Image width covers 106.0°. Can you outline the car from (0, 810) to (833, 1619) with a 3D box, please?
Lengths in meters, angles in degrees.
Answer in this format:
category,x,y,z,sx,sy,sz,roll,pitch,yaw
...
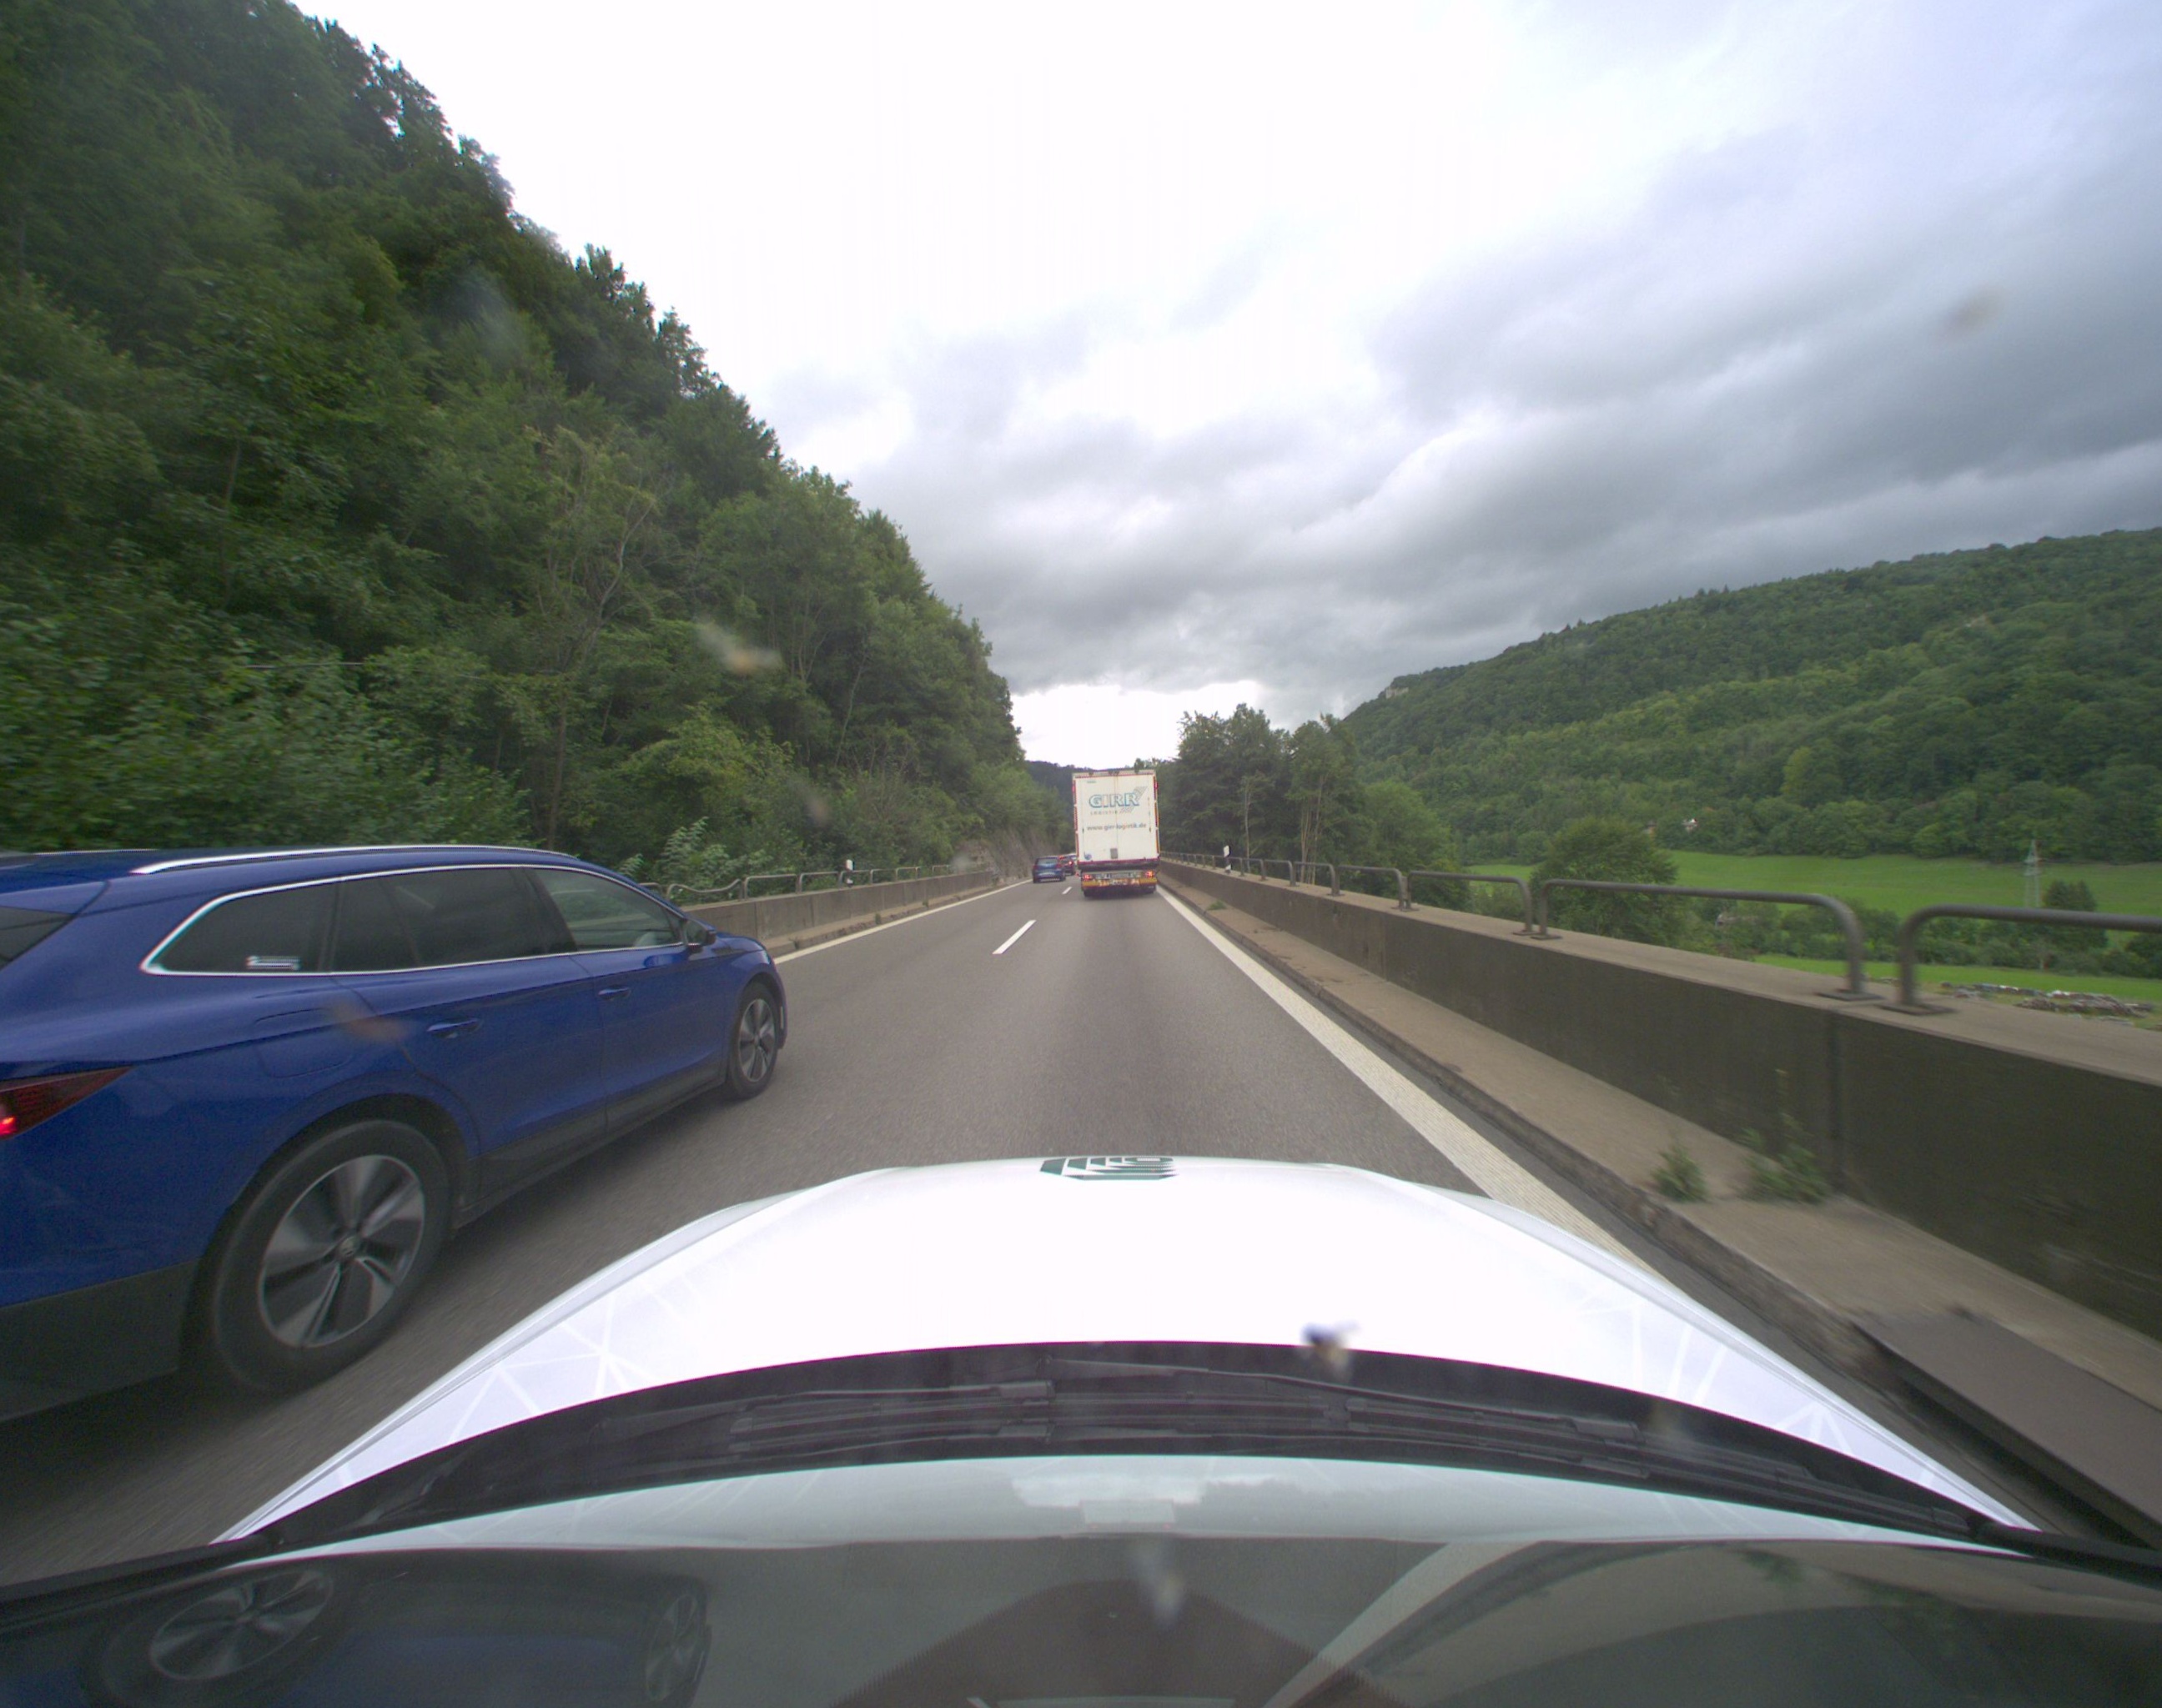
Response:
category,x,y,z,sx,sy,sz,roll,pitch,yaw
car,-3.070,0.732,3.915,1.985,1.632,5.012,-1,0,3

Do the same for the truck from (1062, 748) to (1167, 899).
category,x,y,z,sx,sy,sz,roll,pitch,yaw
truck,1.323,-0.936,32.218,3.072,4.464,15.164,-2,0,2

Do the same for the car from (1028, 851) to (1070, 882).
category,x,y,z,sx,sy,sz,roll,pitch,yaw
car,-1.721,0.671,45.392,1.986,1.596,4.356,-1,0,2

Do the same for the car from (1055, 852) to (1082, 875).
category,x,y,z,sx,sy,sz,roll,pitch,yaw
car,-0.871,0.668,57.131,1.739,1.587,4.000,-1,-1,1

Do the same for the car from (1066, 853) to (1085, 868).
category,x,y,z,sx,sy,sz,roll,pitch,yaw
car,-0.546,0.642,84.386,1.739,1.486,4.001,-2,0,1
